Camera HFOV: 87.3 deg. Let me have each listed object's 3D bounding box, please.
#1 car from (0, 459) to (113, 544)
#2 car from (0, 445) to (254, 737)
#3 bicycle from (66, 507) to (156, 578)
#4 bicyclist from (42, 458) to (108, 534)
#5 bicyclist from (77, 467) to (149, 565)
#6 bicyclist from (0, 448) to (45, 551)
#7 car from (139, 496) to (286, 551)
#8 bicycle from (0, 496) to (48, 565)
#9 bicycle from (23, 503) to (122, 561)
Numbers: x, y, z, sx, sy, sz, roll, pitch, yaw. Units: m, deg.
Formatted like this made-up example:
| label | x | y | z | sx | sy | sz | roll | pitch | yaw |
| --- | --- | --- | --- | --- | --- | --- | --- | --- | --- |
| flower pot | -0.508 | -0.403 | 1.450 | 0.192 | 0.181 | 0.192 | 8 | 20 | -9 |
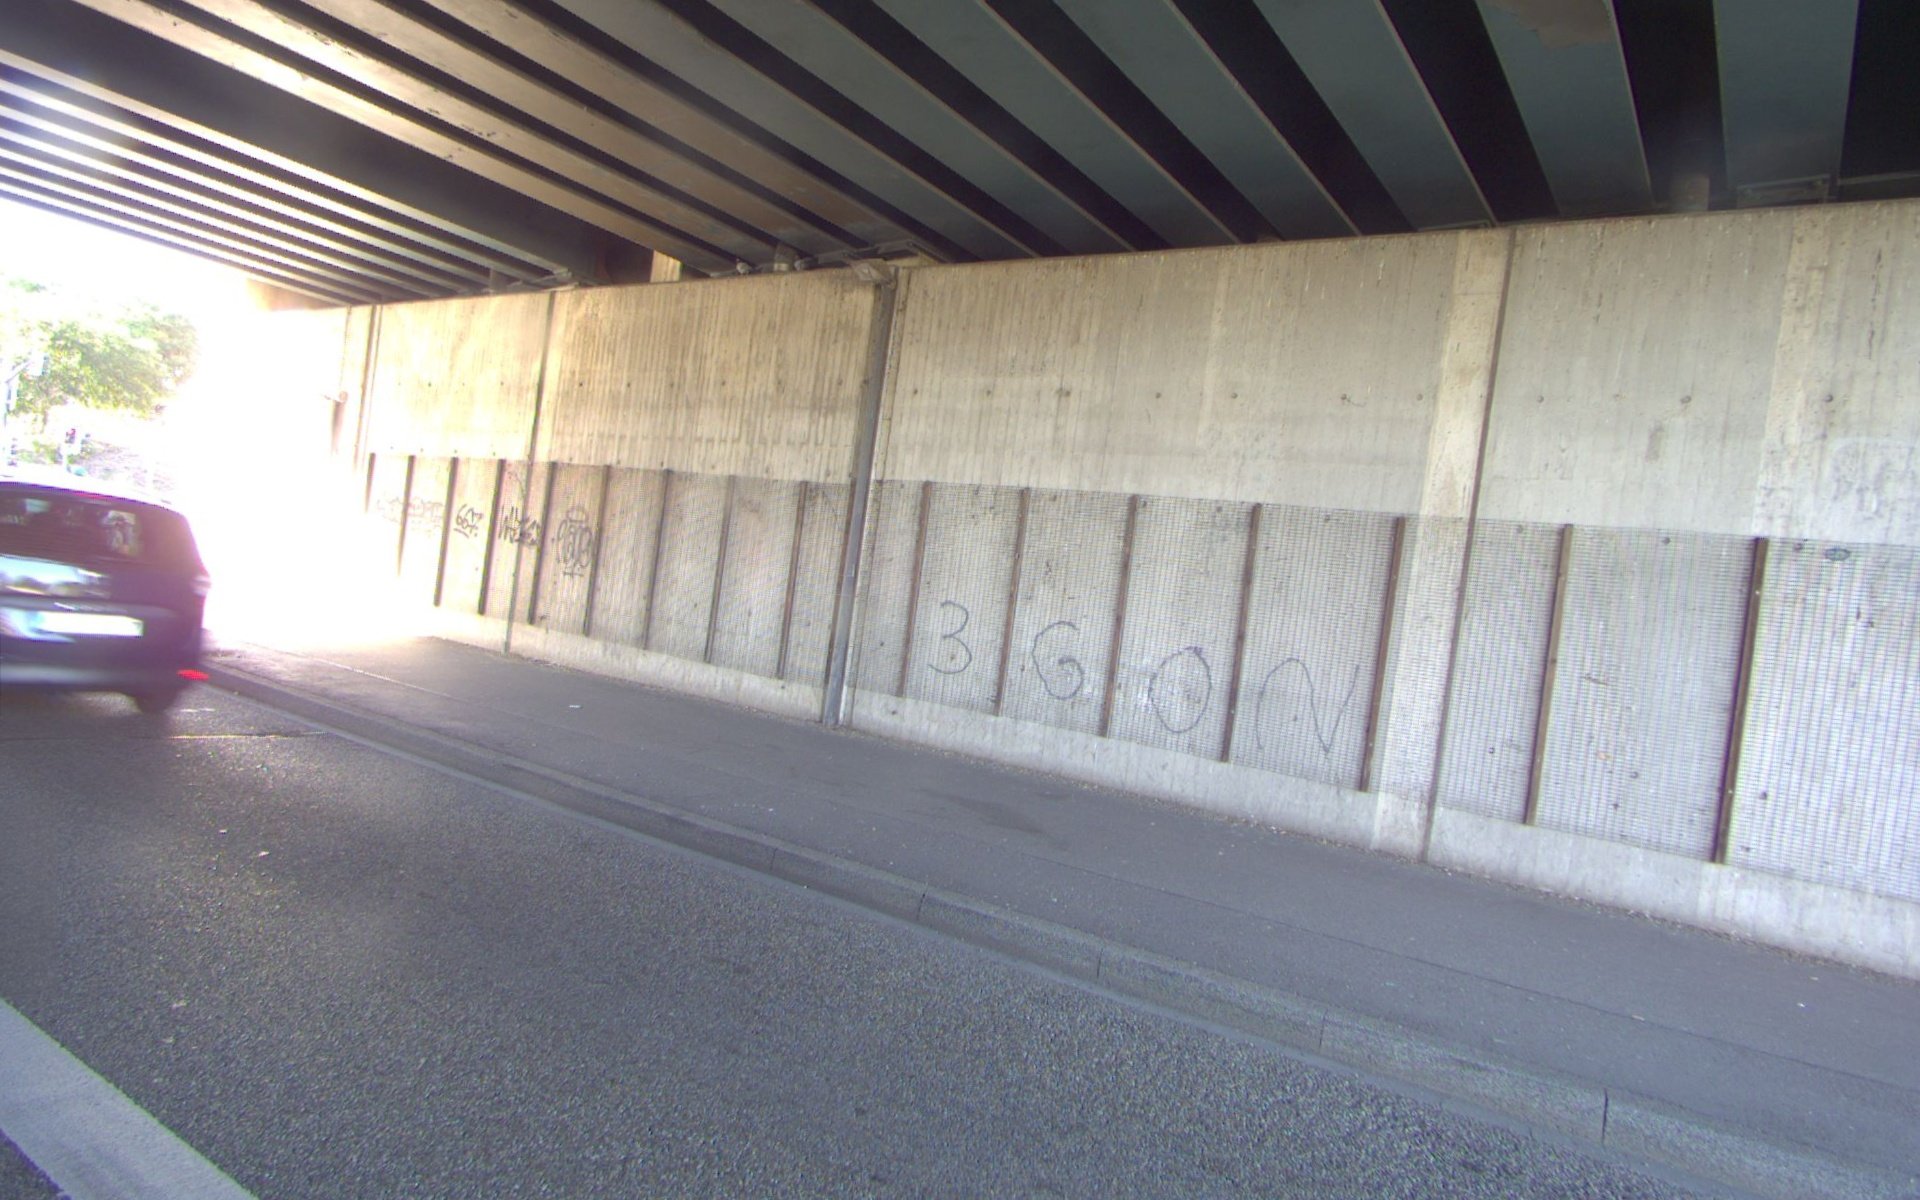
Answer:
| label | x | y | z | sx | sy | sz | roll | pitch | yaw |
| --- | --- | --- | --- | --- | --- | --- | --- | --- | --- |
| car | -25.597 | -2.753 | 26.900 | 1.852 | 1.907 | 4.652 | 7 | -1 | -1 |
| car | -7.172 | -0.206 | 7.329 | 3.914 | 1.727 | 1.722 | 7 | -1 | 30 |
| bicycle | -14.716 | -1.003 | 17.425 | 1.721 | 1.035 | 0.593 | 6 | -1 | 32 |
| bicyclist | -19.328 | -2.258 | 21.987 | 0.657 | 1.491 | 0.749 | 7 | -1 | -15 |
| bicyclist | -14.662 | -1.447 | 17.416 | 0.756 | 1.566 | 0.593 | 6 | -1 | 32 |
| bicyclist | -16.137 | -1.706 | 17.016 | 0.927 | 1.632 | 0.593 | 6 | -1 | 32 |
| car | -31.400 | -3.192 | 42.380 | 1.801 | 1.531 | 4.548 | 6 | -3 | 39 |
| bicycle | -16.194 | -1.215 | 17.025 | 1.721 | 1.035 | 0.593 | 6 | -1 | 32 |
| bicycle | -19.461 | -1.463 | 22.119 | 0.663 | 1.035 | 2.050 | 7 | -2 | -14 |
